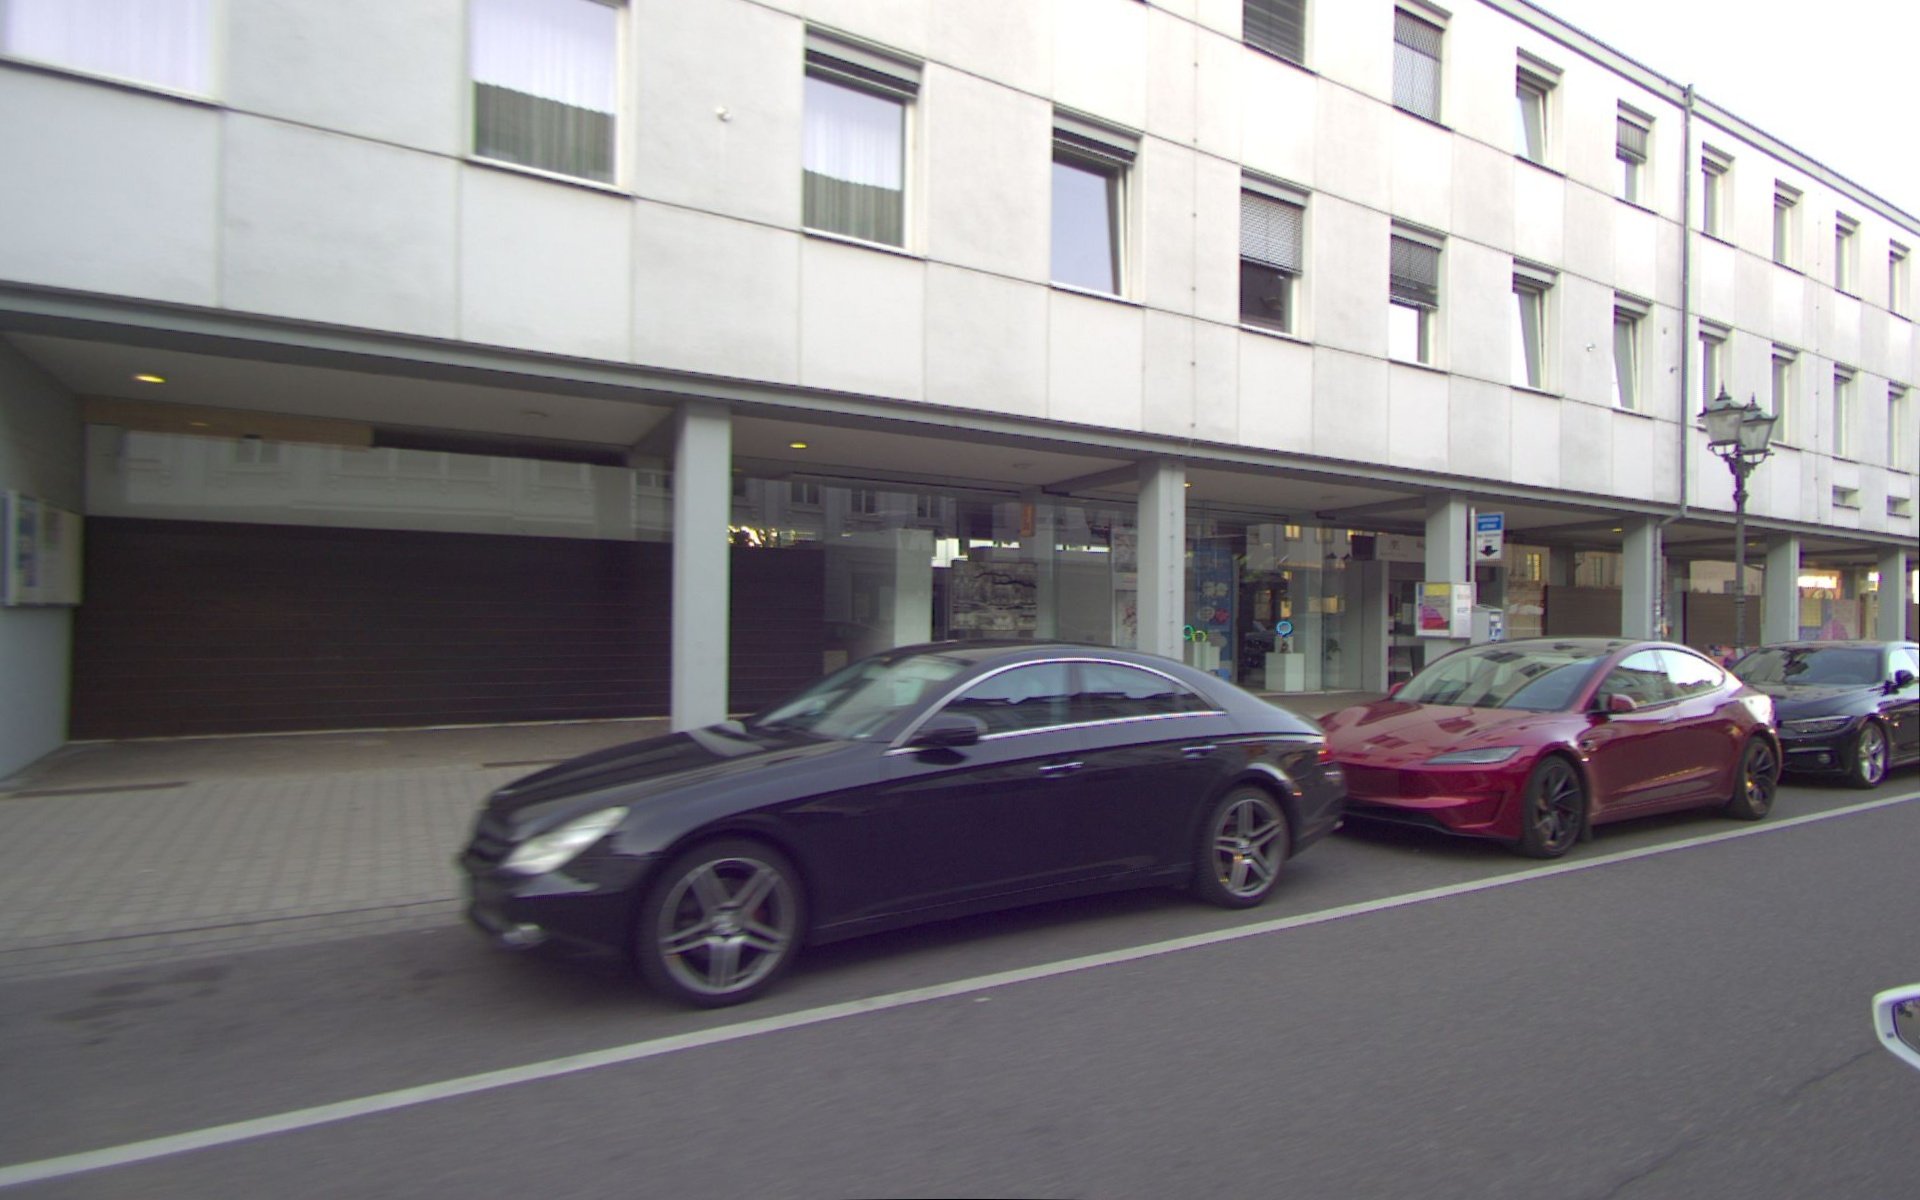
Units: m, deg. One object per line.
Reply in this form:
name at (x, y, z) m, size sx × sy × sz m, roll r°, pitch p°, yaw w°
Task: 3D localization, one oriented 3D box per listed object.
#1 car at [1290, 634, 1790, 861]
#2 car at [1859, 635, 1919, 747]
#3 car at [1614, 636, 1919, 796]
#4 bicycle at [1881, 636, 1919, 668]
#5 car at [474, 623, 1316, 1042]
car at (4.829, 1.013, 8.274) m, size 4.038 × 1.427 × 1.777 m, roll 1°, pitch -1°, yaw -29°
car at (14.130, 1.205, 13.725) m, size 3.954 × 1.418 × 1.665 m, roll 1°, pitch -1°, yaw -31°
car at (9.241, 1.119, 10.930) m, size 3.952 × 1.372 × 1.984 m, roll 1°, pitch 0°, yaw -30°
bicycle at (30.859, 1.671, 32.678) m, size 2.309 × 0.997 × 0.729 m, roll 1°, pitch 0°, yaw -32°
car at (-0.250, 0.851, 5.247) m, size 4.038 × 1.427 × 1.777 m, roll 1°, pitch -1°, yaw -29°
